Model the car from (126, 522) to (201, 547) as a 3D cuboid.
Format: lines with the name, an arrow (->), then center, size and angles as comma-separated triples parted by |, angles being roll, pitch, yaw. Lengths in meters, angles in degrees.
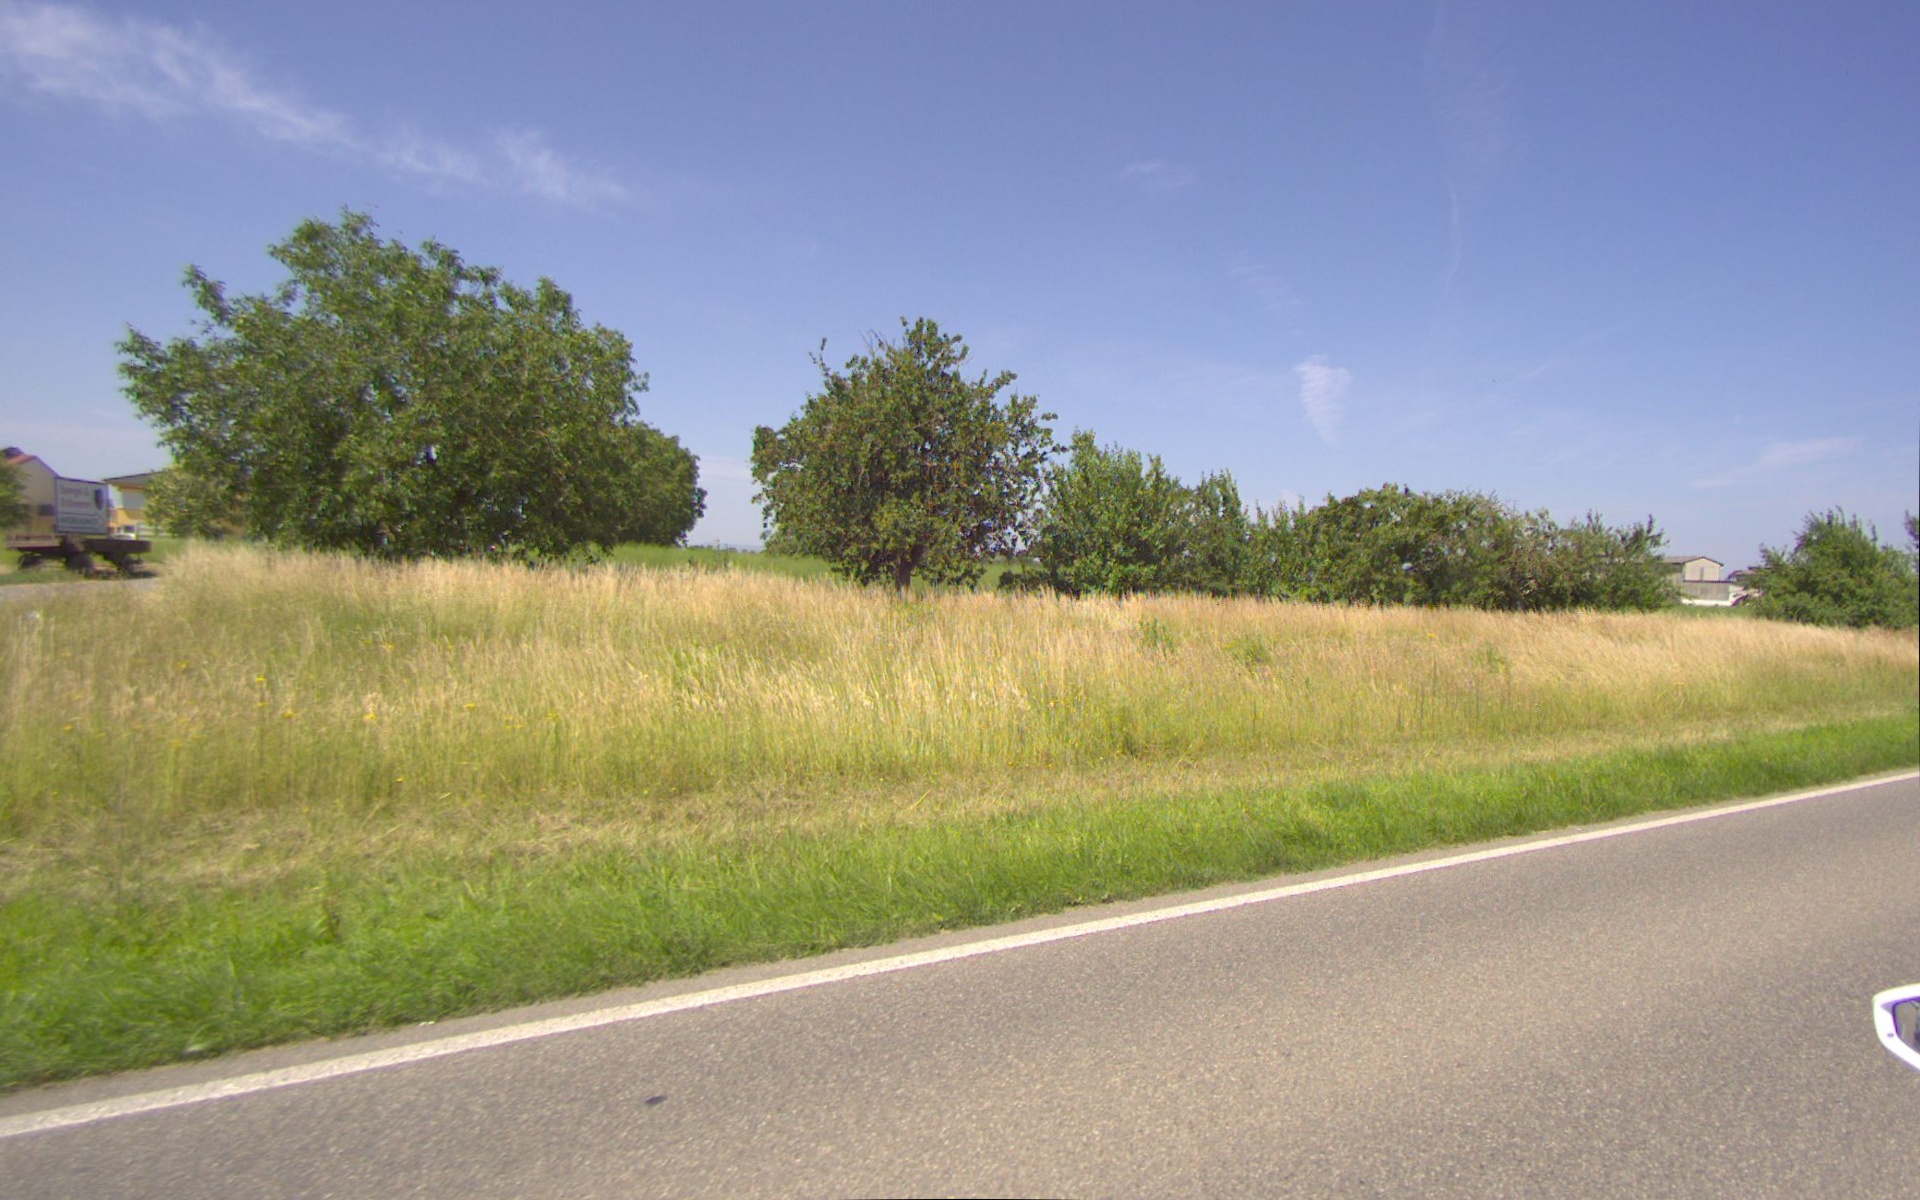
car -> -57.727, -4.773, 72.892 | 3.951, 1.559, 1.857 | 2, 2, -29

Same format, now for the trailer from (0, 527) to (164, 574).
trailer -> -24.667, -1.355, 28.426 | 1.968, 1.154, 3.985 | 2, 1, -16
